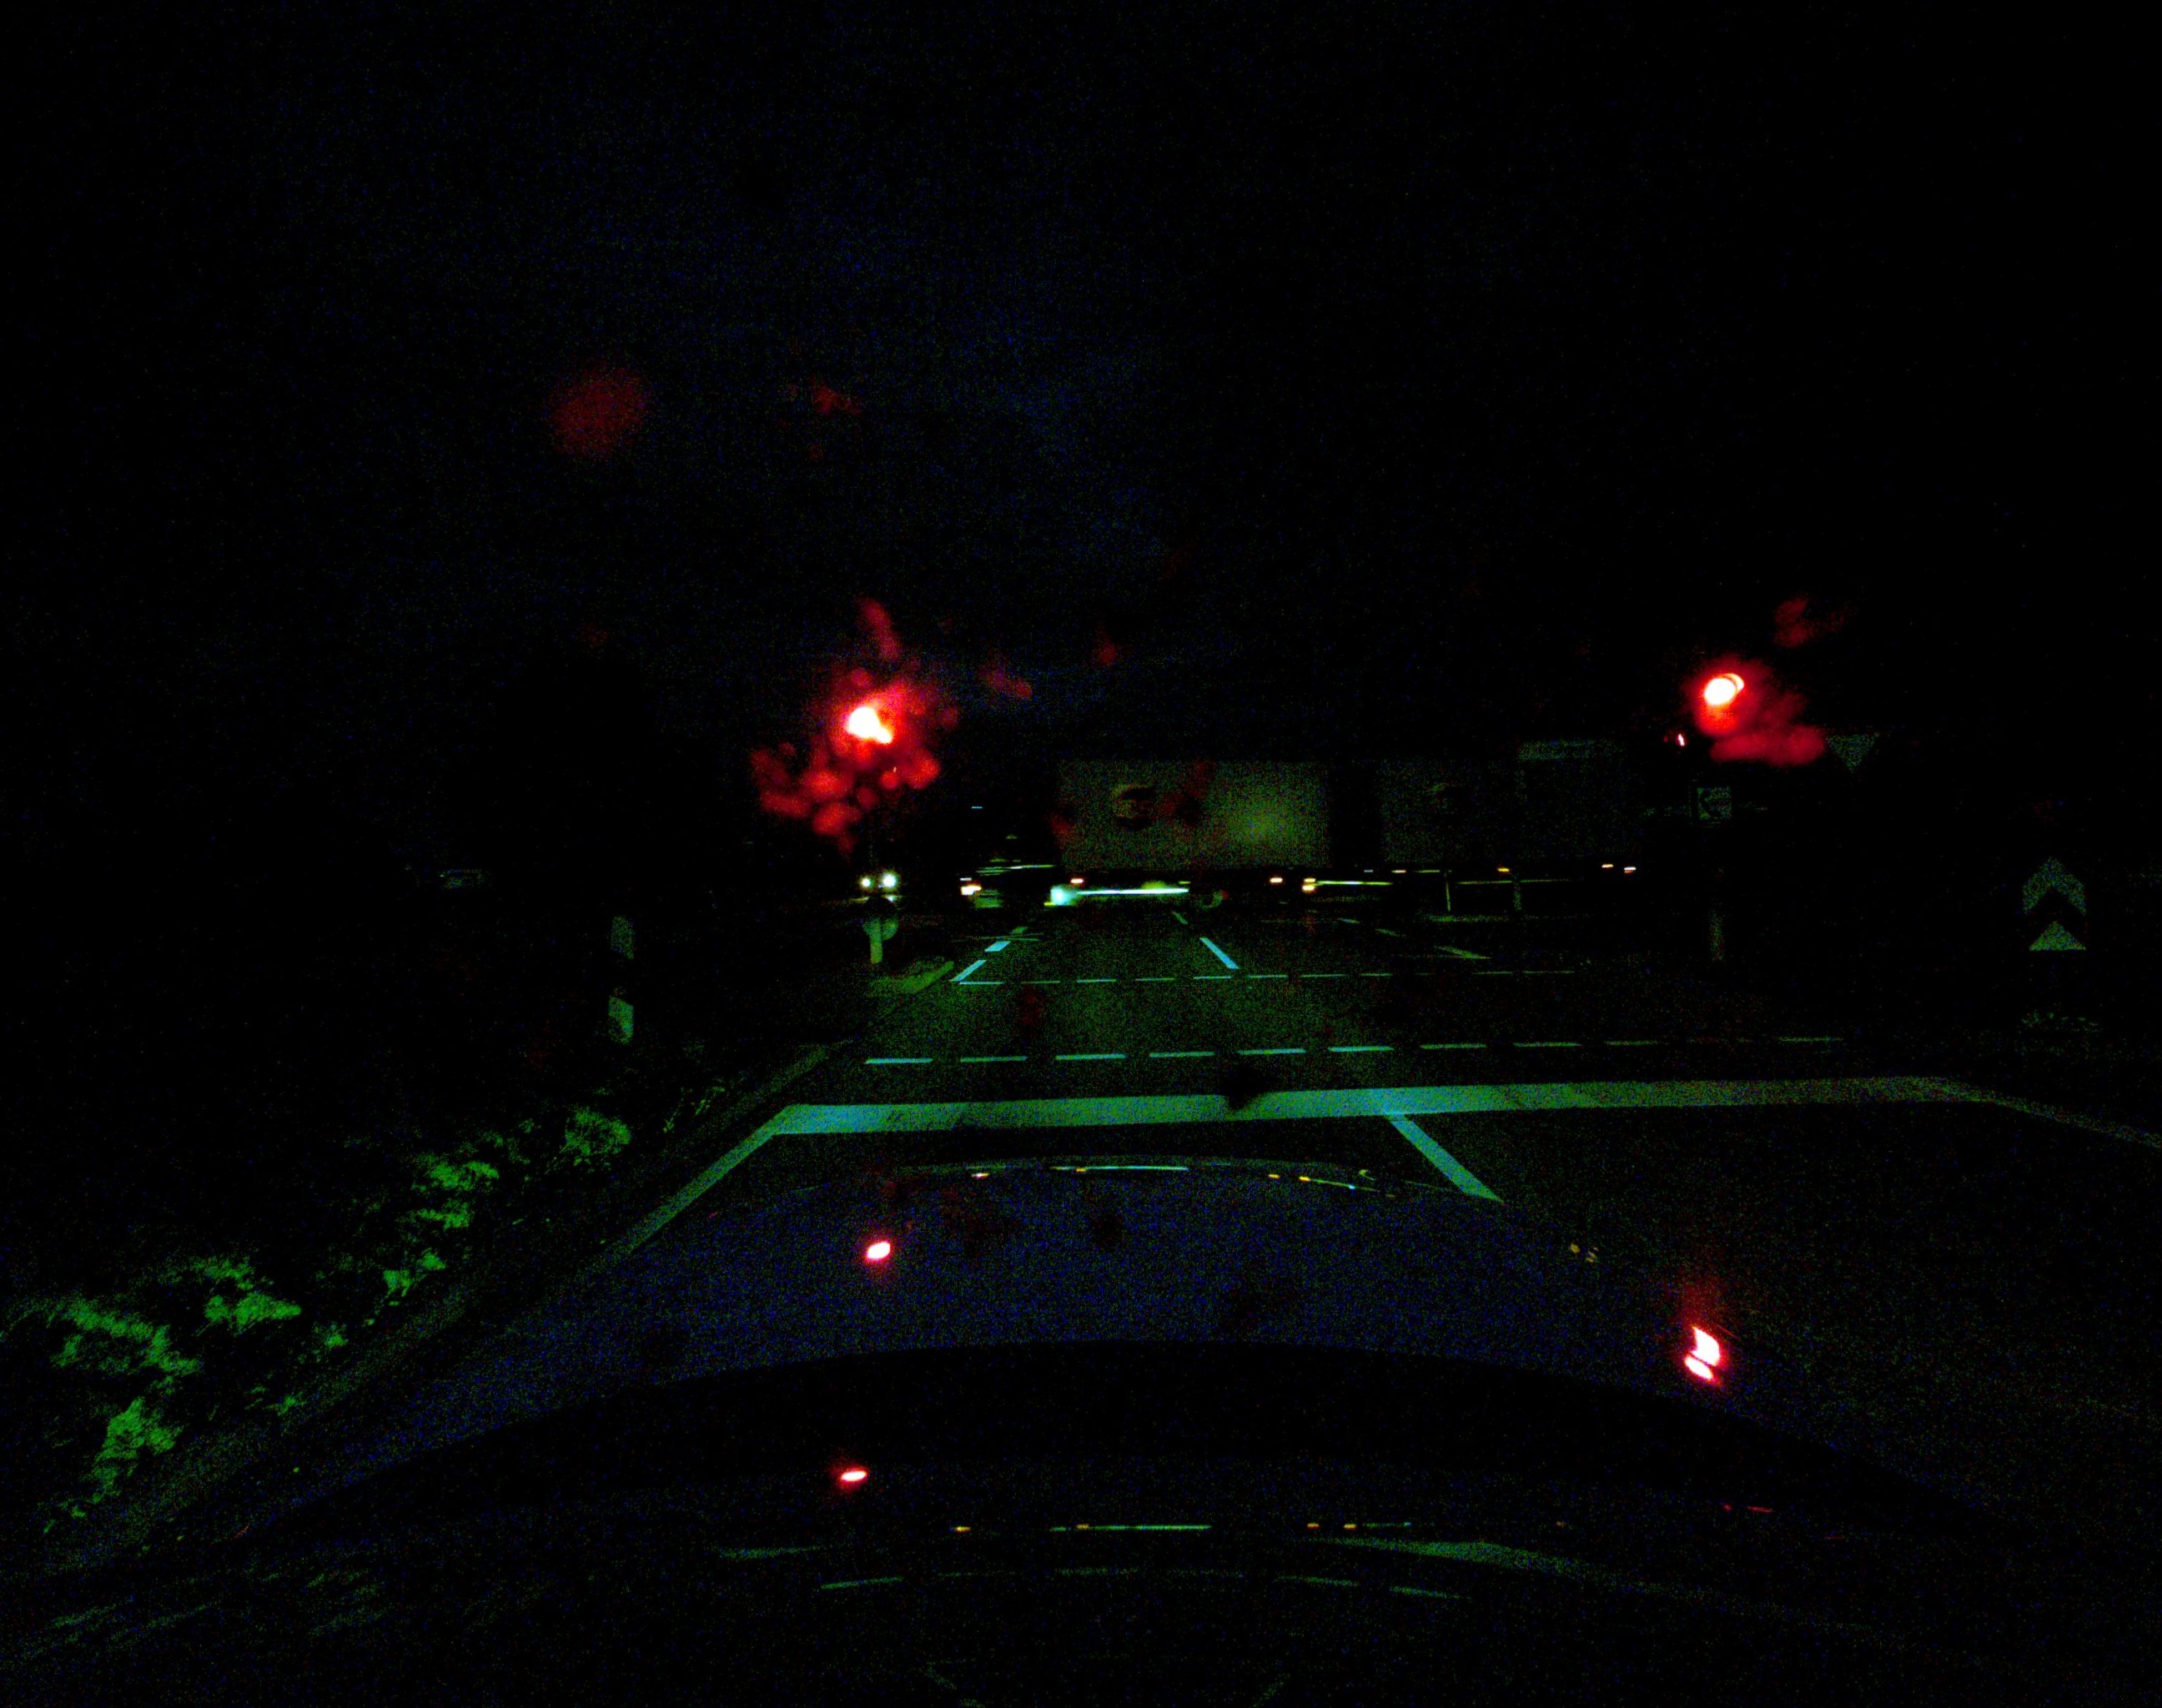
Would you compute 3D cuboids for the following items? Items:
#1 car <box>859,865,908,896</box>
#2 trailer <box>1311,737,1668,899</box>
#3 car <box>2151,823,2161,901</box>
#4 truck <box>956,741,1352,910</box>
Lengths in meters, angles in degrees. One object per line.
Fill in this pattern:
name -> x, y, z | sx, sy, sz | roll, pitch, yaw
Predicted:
car -> -10.909, 1.422, 45.173 | 1.622, 1.376, 3.591 | -6, 0, 2
trailer -> 11.411, -0.991, 23.204 | 8.828, 3.943, 2.582 | -3, 0, -3
car -> 22.120, 0.135, 15.378 | 4.011, 1.442, 1.792 | 0, -1, -30
truck -> 1.882, -0.805, 22.183 | 10.313, 4.117, 2.725 | -2, -1, -10
